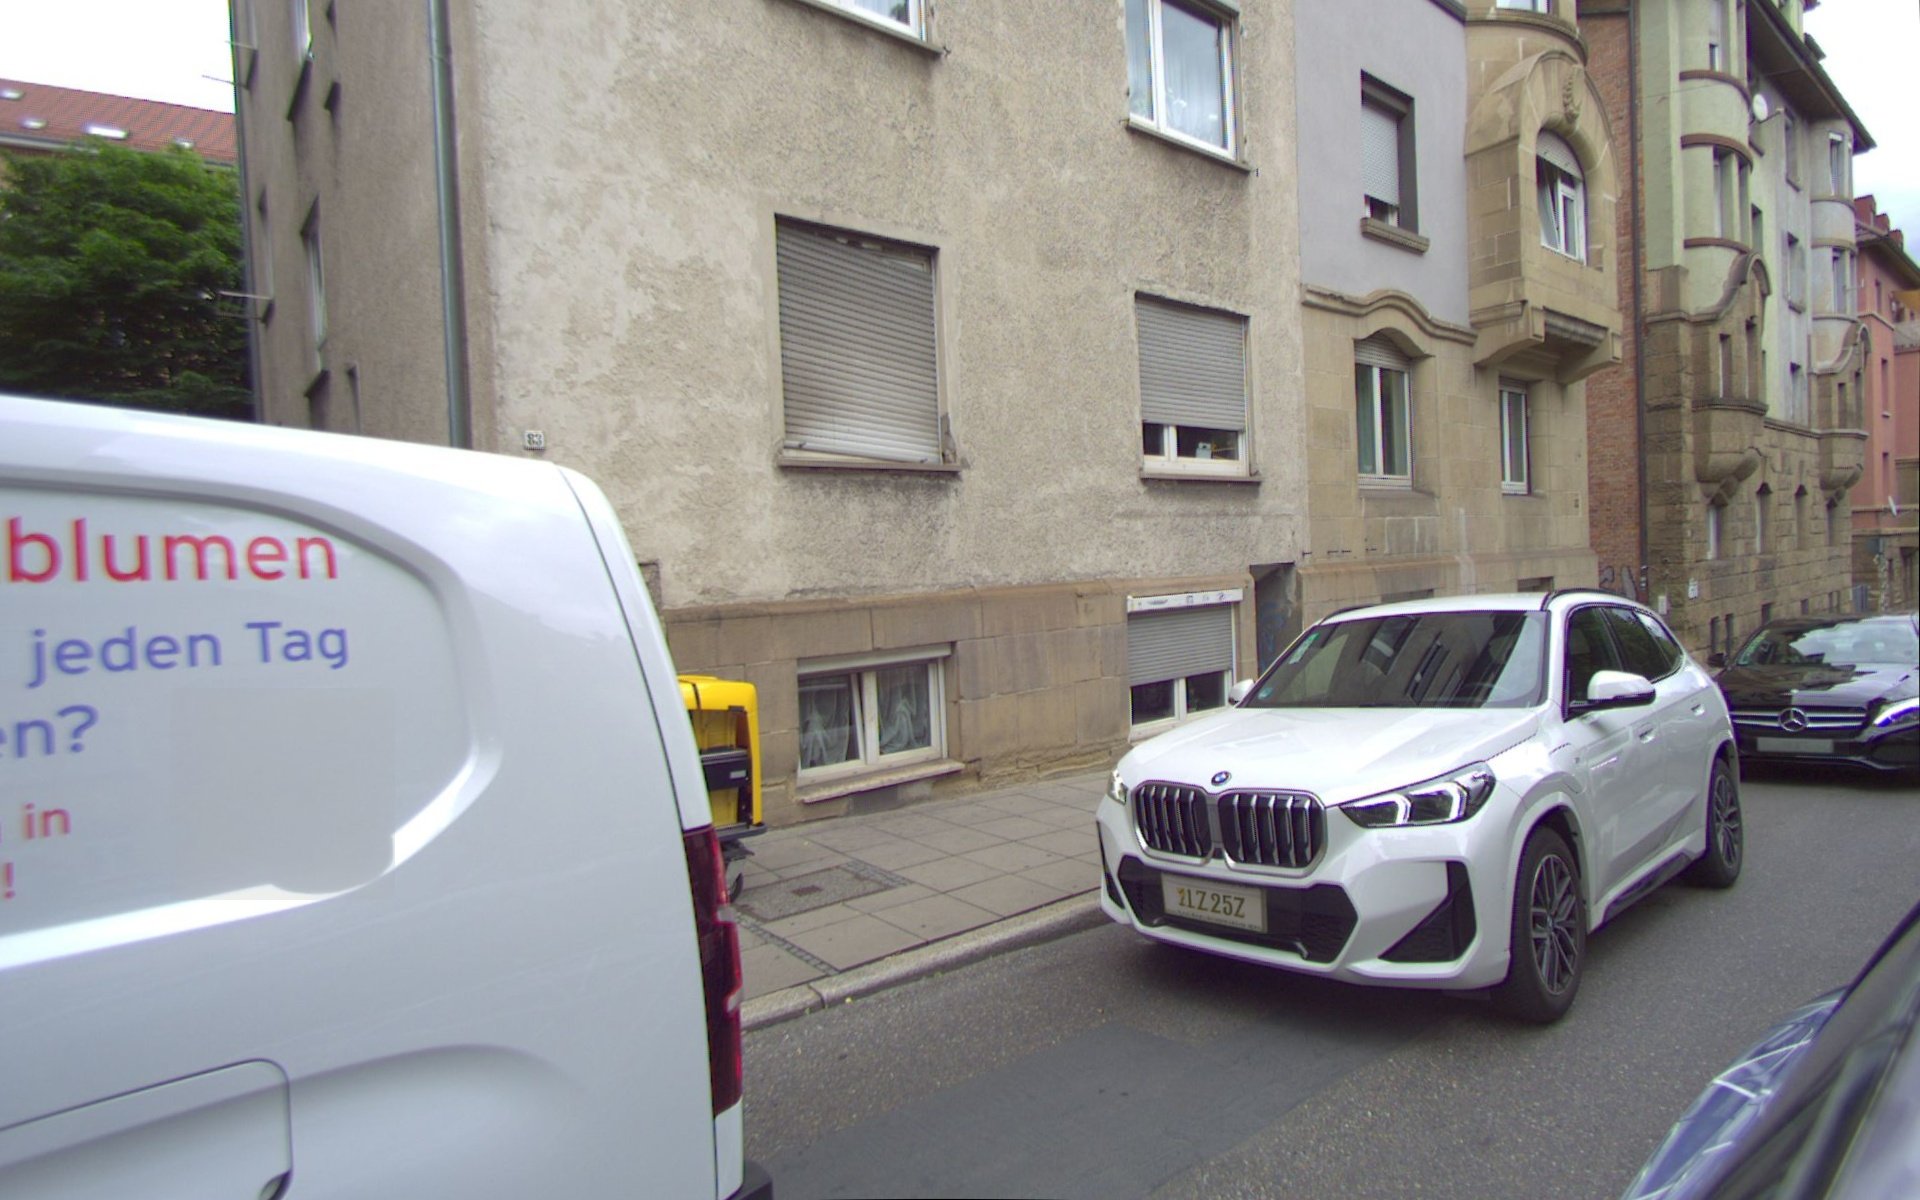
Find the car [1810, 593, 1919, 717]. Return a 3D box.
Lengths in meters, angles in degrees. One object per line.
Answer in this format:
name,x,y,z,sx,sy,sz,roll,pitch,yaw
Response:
car,13.441,0.654,13.862,4.226,1.534,1.935,-1,-3,-40

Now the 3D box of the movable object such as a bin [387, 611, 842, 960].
movable object such as a bin,-1.792,0.795,5.385,1.979,1.391,1.223,-1,2,-43

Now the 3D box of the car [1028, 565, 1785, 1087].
car,2.547,0.720,5.203,4.276,1.576,1.857,-1,-4,-42

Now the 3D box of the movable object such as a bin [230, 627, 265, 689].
movable object such as a bin,-10.980,0.889,15.592,0.405,0.923,0.340,0,0,-40

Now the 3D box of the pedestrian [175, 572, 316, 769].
pedestrian,-6.602,0.608,9.360,0.808,1.666,0.773,0,6,42

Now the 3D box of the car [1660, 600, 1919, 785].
car,8.451,0.742,9.652,4.133,1.395,1.882,-1,-3,-41

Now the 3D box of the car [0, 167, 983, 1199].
car,-2.331,0.558,0.898,4.597,1.798,1.977,-1,-3,-42
